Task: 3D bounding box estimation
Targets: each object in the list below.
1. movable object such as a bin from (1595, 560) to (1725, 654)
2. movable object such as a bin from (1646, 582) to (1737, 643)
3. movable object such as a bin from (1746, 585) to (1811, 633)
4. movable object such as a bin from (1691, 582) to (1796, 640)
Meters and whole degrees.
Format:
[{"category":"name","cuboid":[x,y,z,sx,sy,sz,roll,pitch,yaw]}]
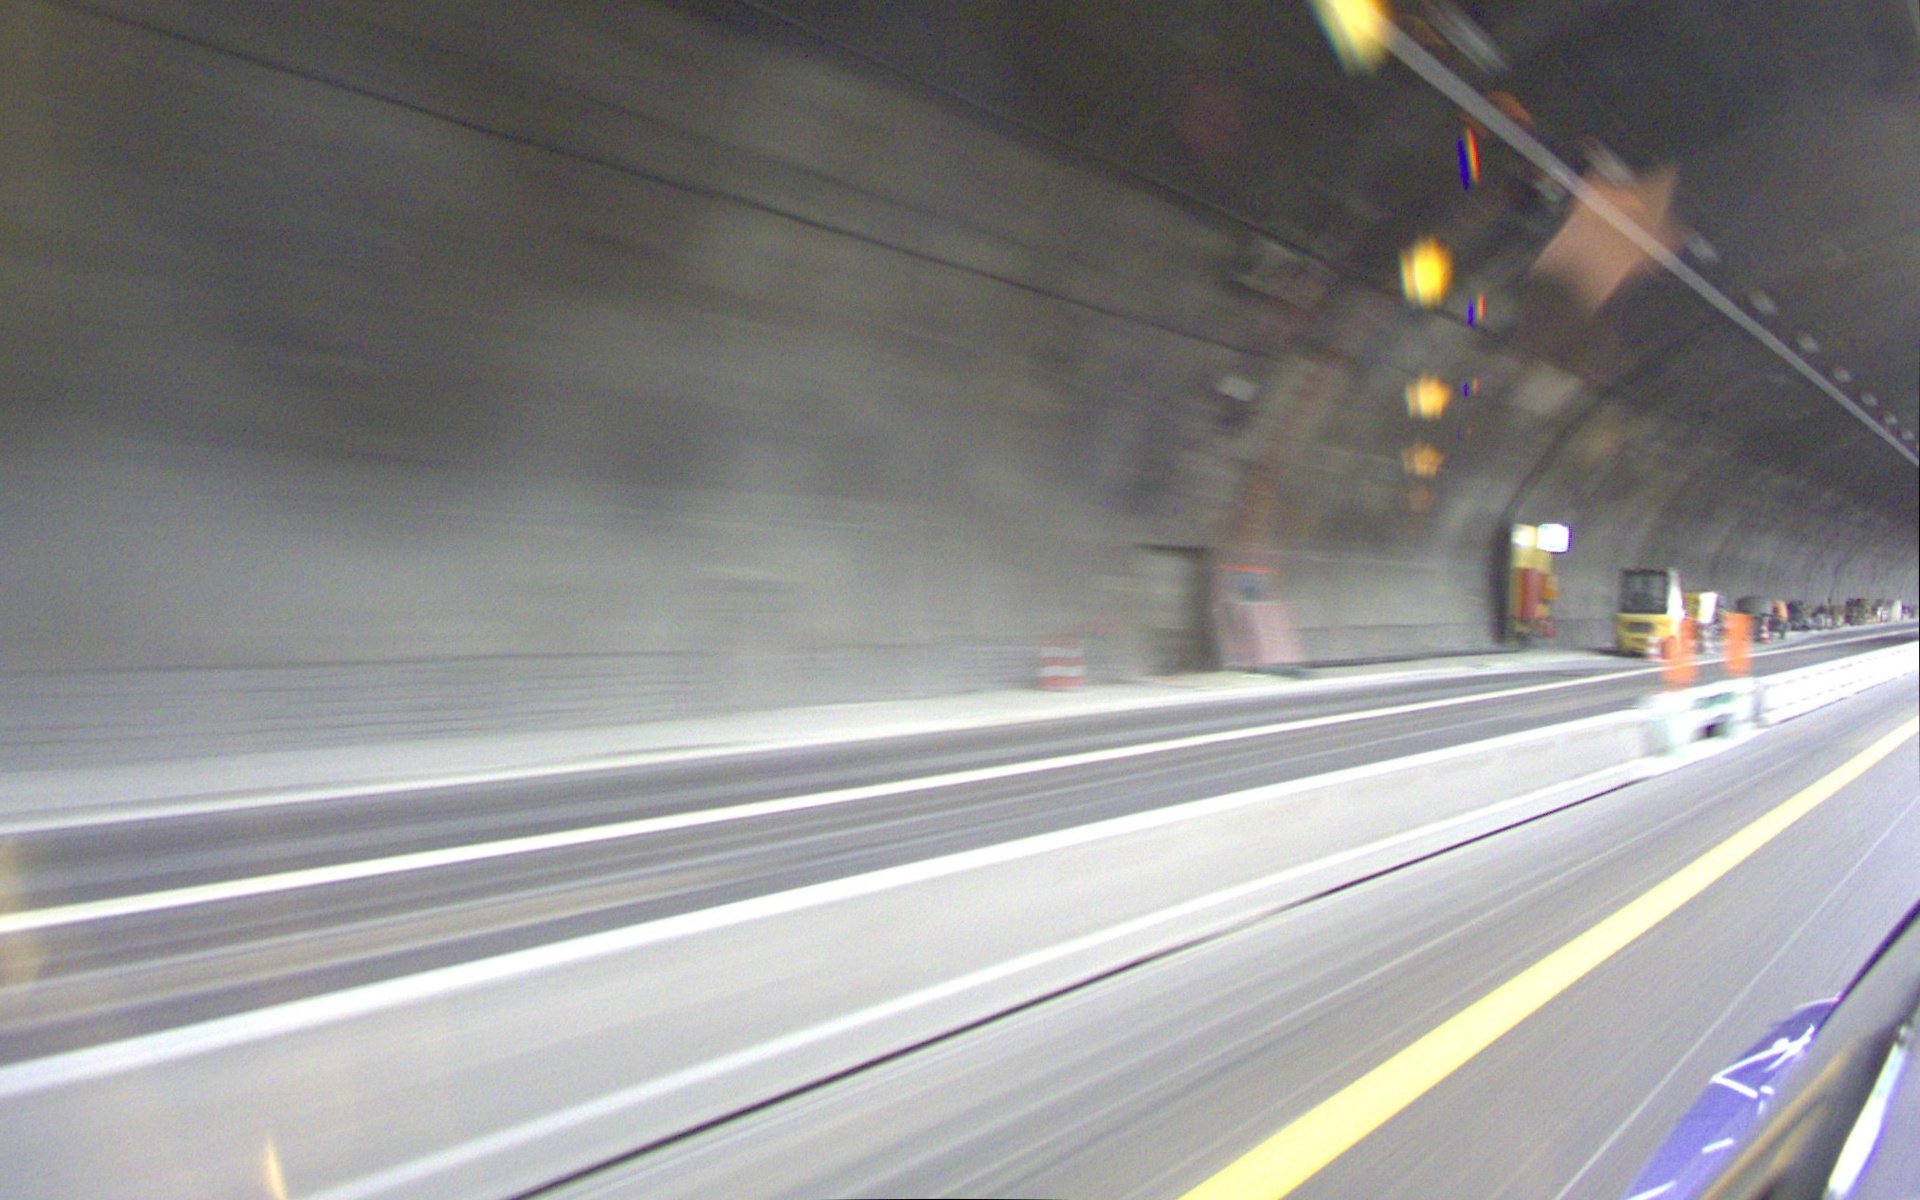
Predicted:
[{"category":"movable object such as a bin","cuboid":[17.842,0.129,25.705,4.548,2.172,1.686,-1,1,-41]},{"category":"movable object such as a bin","cuboid":[21.630,0.327,29.892,3.002,1.730,1.558,-1,1,-41]},{"category":"movable object such as a bin","cuboid":[30.476,0.327,37.675,3.002,1.613,1.306,0,4,-41]},{"category":"movable object such as a bin","cuboid":[26.058,0.345,33.592,4.423,1.695,1.865,0,4,-41]}]
